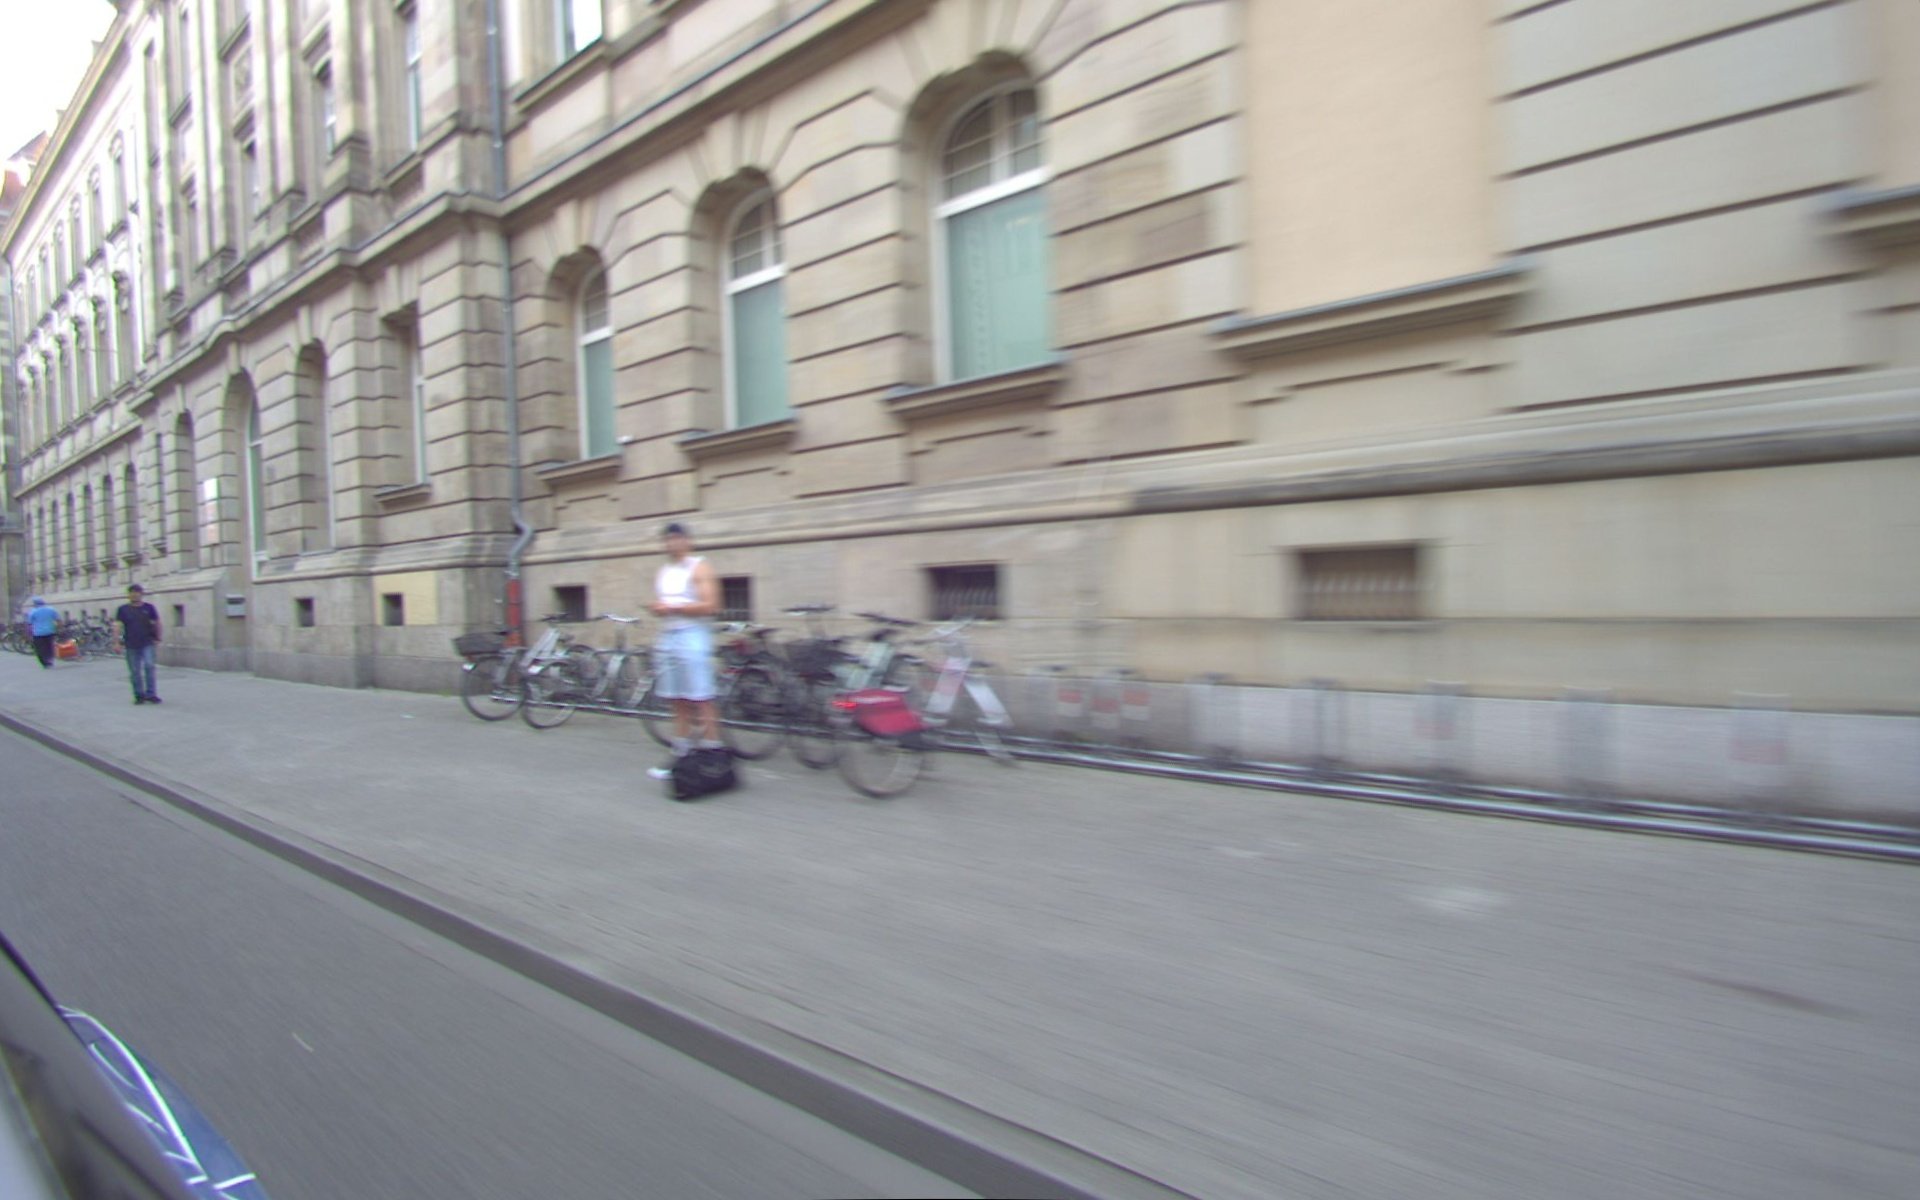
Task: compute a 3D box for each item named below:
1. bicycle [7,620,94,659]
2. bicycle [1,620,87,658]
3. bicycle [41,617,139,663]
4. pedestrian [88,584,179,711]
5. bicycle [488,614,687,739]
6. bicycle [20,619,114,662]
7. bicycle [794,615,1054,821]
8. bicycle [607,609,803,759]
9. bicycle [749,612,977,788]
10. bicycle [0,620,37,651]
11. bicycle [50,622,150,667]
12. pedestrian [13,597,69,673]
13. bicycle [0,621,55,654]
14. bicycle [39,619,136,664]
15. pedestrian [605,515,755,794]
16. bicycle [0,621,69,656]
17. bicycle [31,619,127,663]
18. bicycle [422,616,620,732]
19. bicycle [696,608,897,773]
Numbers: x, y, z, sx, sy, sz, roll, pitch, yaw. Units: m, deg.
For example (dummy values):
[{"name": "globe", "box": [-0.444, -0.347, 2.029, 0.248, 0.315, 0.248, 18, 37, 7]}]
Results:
[{"name": "bicycle", "box": [-29.172, 1.248, 32.494, 0.728, 1.086, 1.922, -1, 3, 34]}, {"name": "bicycle", "box": [-30.080, 1.262, 33.261, 0.728, 1.086, 1.922, -1, 3, 34]}, {"name": "bicycle", "box": [-23.944, 1.084, 27.880, 0.747, 1.086, 1.918, -1, 3, 39]}, {"name": "pedestrian", "box": [-12.196, 0.676, 14.931, 0.969, 1.763, 0.801, -1, 2, 41]}, {"name": "bicycle", "box": [-3.841, 0.742, 10.603, 0.618, 1.069, 1.921, -1, 2, 35]}, {"name": "bicycle", "box": [-26.487, 1.175, 30.061, 0.728, 1.086, 1.922, -1, 3, 34]}, {"name": "bicycle", "box": [-0.168, 0.697, 6.784, 0.619, 1.069, 1.919, 0, 3, 38]}, {"name": "bicycle", "box": [-2.226, 0.689, 9.080, 0.499, 1.116, 1.779, -1, 2, 35]}, {"name": "bicycle", "box": [-0.677, 0.692, 7.794, 0.618, 1.069, 1.921, -1, 2, 35]}, {"name": "bicycle", "box": [-37.574, 1.438, 39.590, 0.728, 1.117, 2.002, -1, 3, 34]}, {"name": "bicycle", "box": [-23.197, 1.180, 27.338, 0.720, 1.053, 1.918, -2, 1, 36]}, {"name": "pedestrian", "box": [-22.500, 0.844, 24.786, 0.768, 1.758, 0.820, -2, 3, 41]}, {"name": "bicycle", "box": [-35.283, 1.414, 37.851, 0.725, 1.086, 2.011, -2, 3, 21]}, {"name": "bicycle", "box": [-24.813, 1.159, 28.810, 0.728, 1.086, 1.922, -1, 3, 34]}, {"name": "pedestrian", "box": [-1.987, 0.359, 7.197, 0.753, 1.865, 0.583, -2, 2, 35]}, {"name": "bicycle", "box": [-32.716, 1.341, 35.572, 0.728, 1.086, 1.921, -1, 3, 35]}, {"name": "bicycle", "box": [-25.440, 1.163, 29.263, 0.728, 1.086, 1.922, -1, 3, 34]}, {"name": "bicycle", "box": [-4.859, 0.772, 11.331, 0.619, 1.069, 1.918, -1, 2, 39]}, {"name": "bicycle", "box": [-1.288, 0.675, 8.333, 0.499, 1.116, 1.779, -1, 2, 35]}]
